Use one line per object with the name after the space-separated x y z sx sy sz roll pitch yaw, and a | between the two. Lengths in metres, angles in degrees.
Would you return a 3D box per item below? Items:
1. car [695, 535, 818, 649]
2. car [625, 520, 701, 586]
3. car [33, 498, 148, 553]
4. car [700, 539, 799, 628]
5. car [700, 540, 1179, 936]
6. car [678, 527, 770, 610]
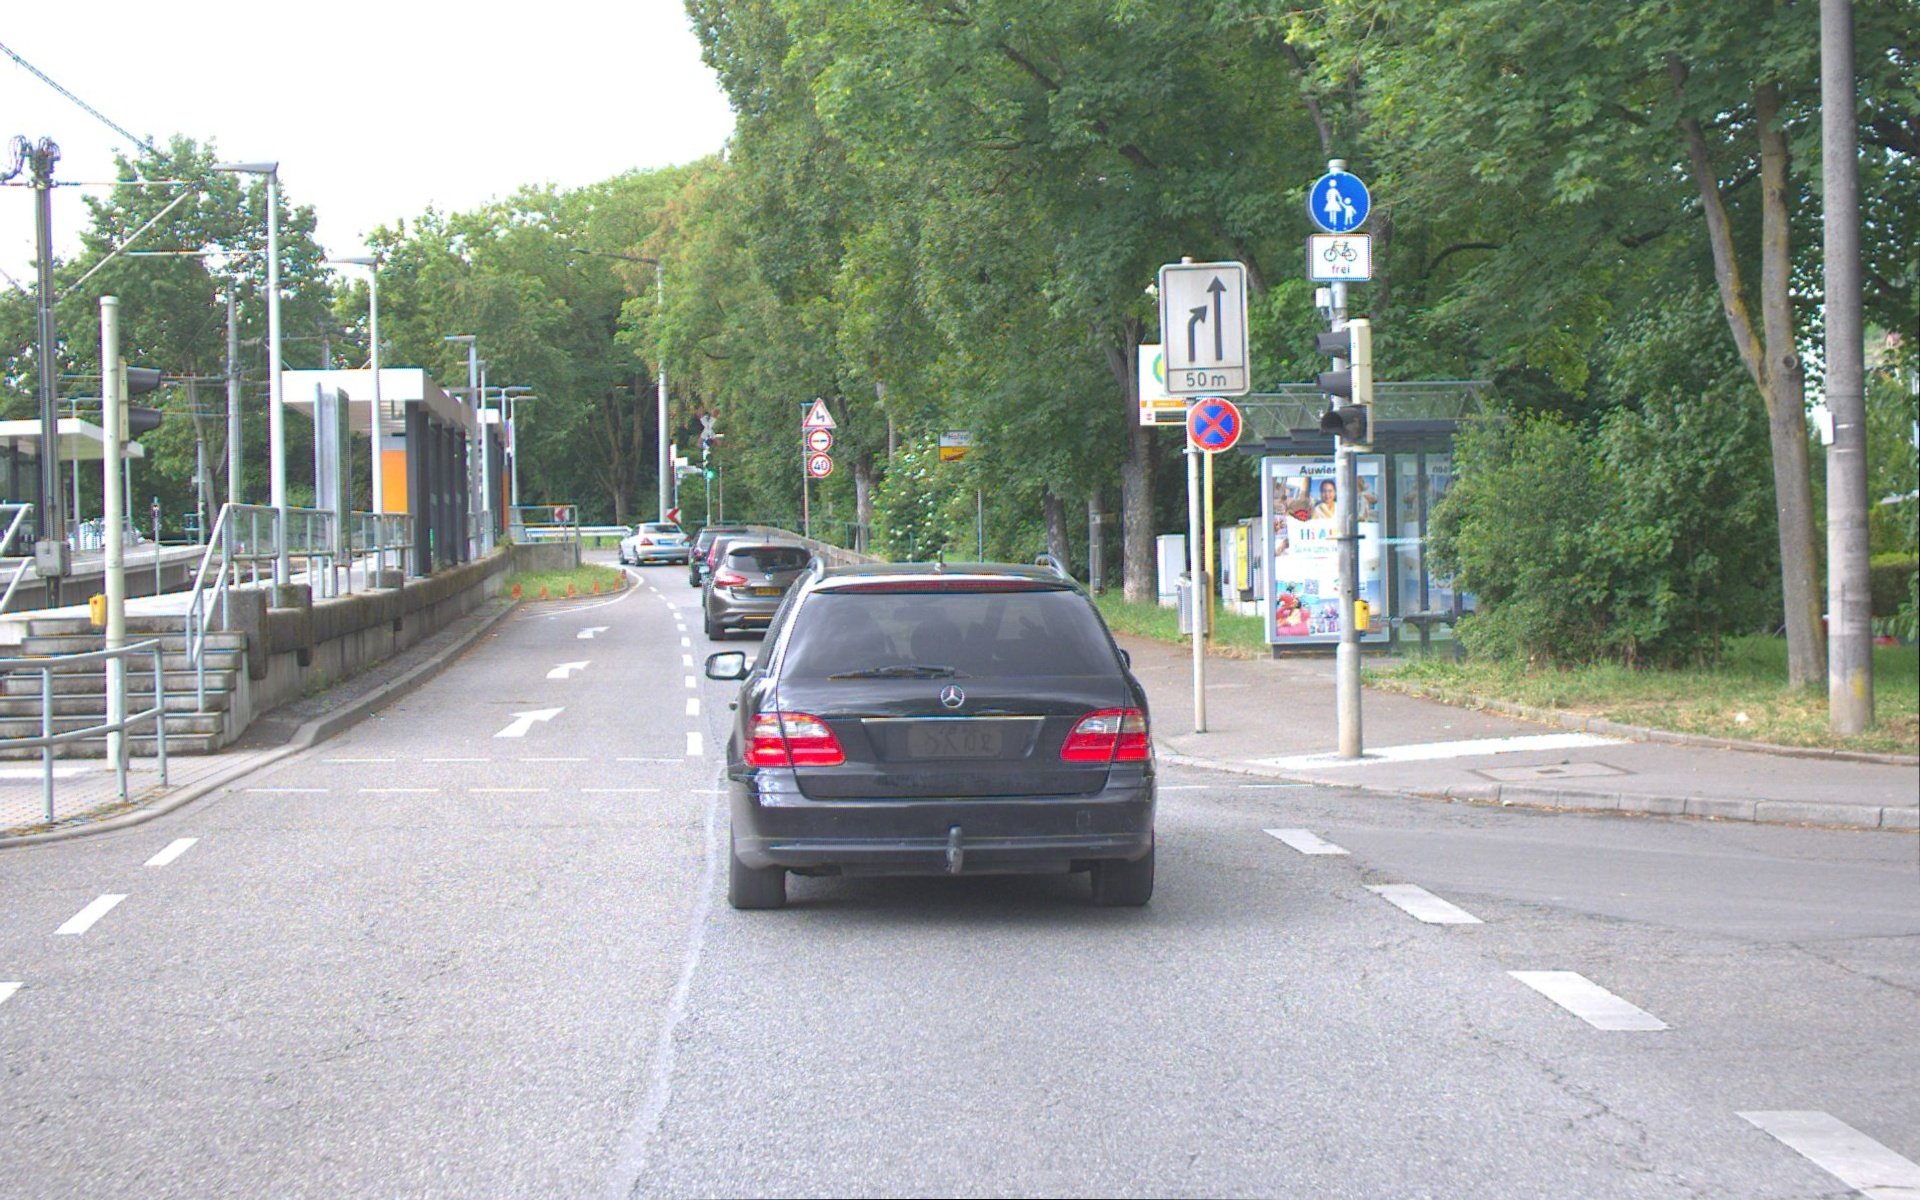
-3.146 -0.122 52.694 1.781 1.642 4.001 1 0 -4 | car
-8.992 -1.409 103.913 1.993 1.886 4.001 1 0 -9 | car
-33.467 -2.869 132.255 3.994 2.007 1.996 1 0 30 | car
-4.110 -0.310 66.680 1.781 1.642 4.001 1 0 -5 | car
-0.223 0.499 15.373 1.781 1.520 4.001 0 1 -6 | car
-5.721 -0.744 83.044 1.993 1.912 4.001 1 0 -7 | car
